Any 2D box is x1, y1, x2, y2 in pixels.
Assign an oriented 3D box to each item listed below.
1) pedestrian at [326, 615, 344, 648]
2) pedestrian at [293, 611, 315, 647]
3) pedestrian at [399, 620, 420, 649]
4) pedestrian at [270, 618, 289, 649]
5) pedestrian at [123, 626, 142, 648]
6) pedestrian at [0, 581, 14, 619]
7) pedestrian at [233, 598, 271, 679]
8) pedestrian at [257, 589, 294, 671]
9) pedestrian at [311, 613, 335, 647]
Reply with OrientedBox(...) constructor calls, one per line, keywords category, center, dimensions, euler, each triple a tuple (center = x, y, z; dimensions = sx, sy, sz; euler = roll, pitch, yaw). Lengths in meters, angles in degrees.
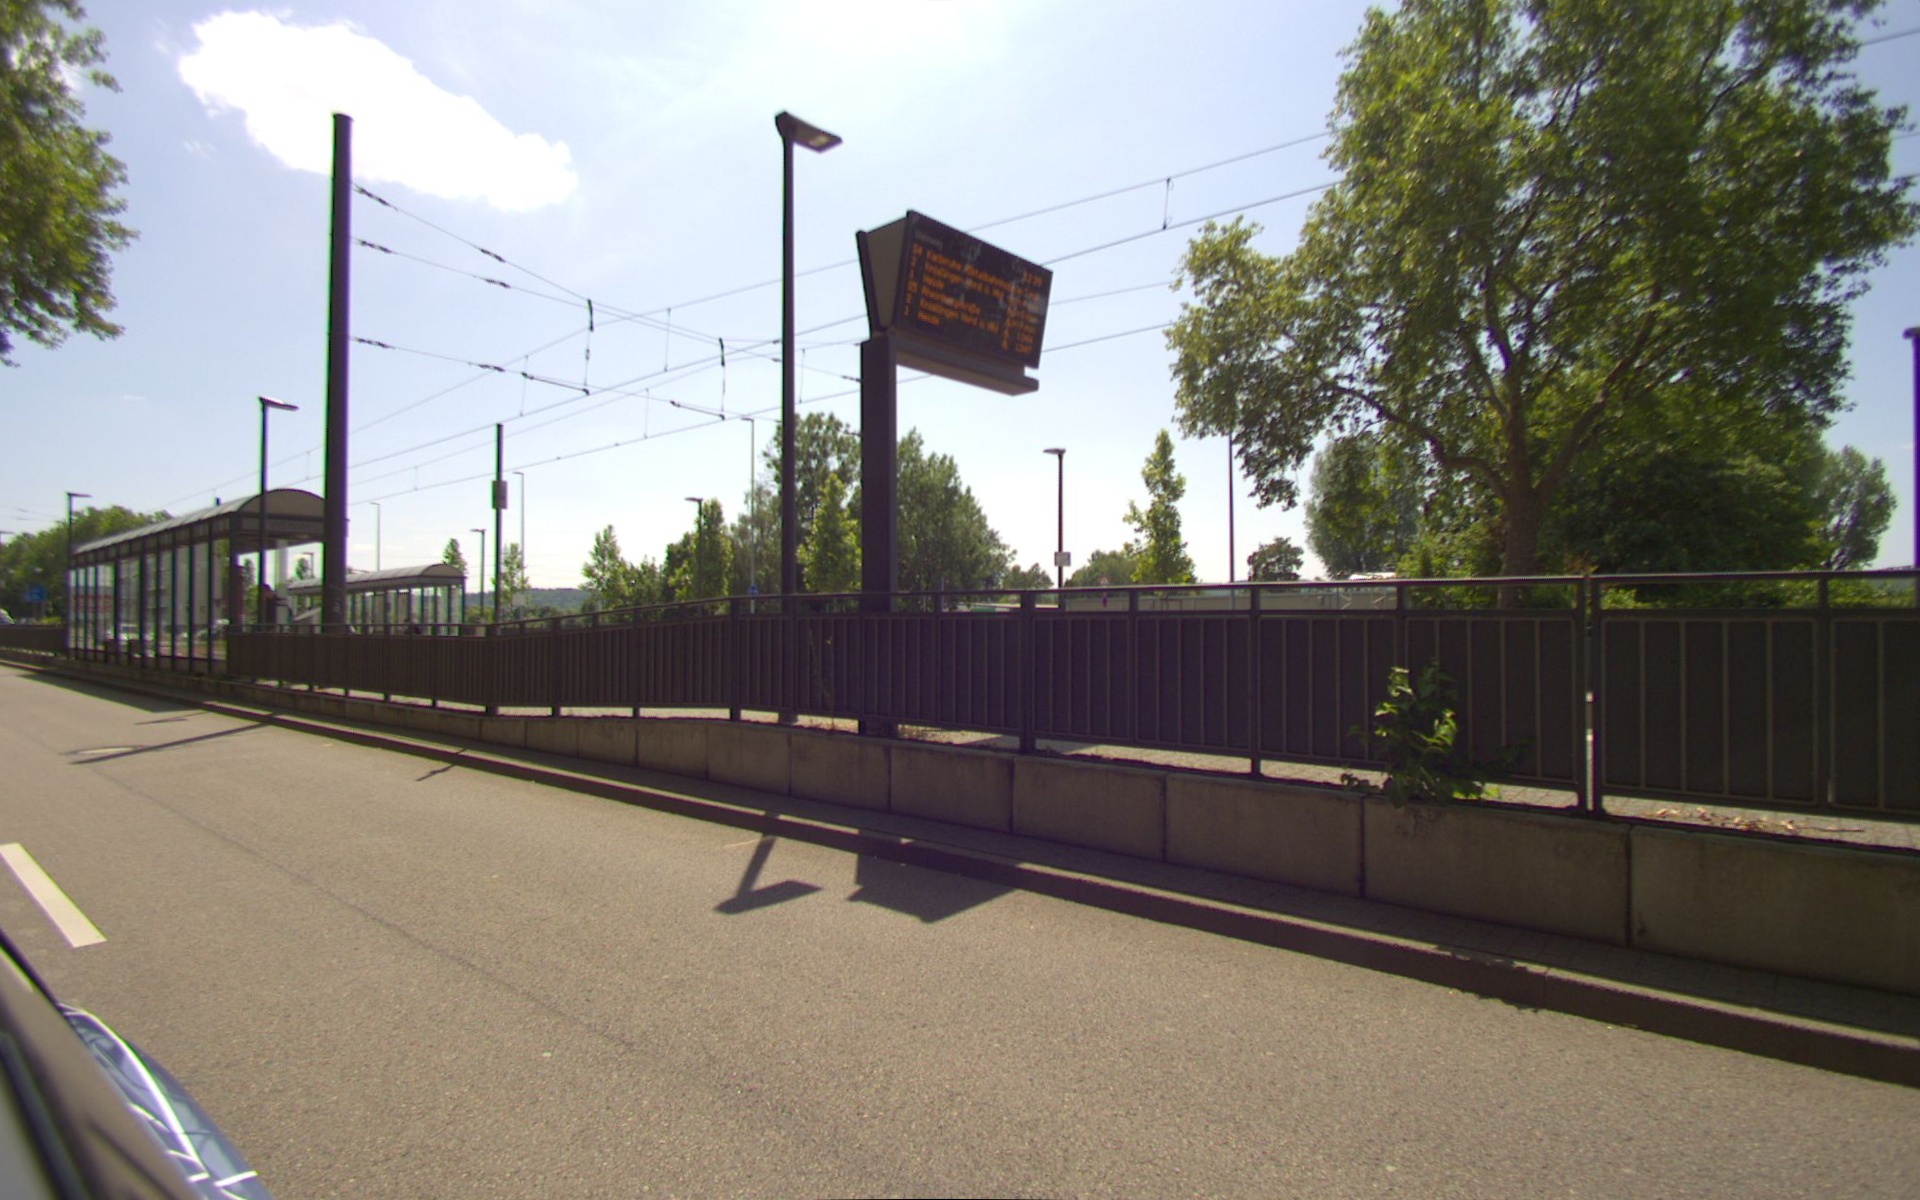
OrientedBox(category="pedestrian", center=(-30.009, 1.501, 48.602), dimensions=(0.639, 1.545, 0.570), euler=(-2, -2, 42))
OrientedBox(category="pedestrian", center=(-32.092, 1.420, 49.535), dimensions=(0.726, 1.742, 0.580), euler=(0, -2, -12))
OrientedBox(category="pedestrian", center=(-22.931, 1.431, 42.135), dimensions=(0.639, 1.199, 0.570), euler=(-2, -2, 42))
OrientedBox(category="pedestrian", center=(-35.840, 1.757, 53.292), dimensions=(0.804, 1.650, 0.552), euler=(-2, -2, 34))
OrientedBox(category="pedestrian", center=(-61.138, 2.740, 74.801), dimensions=(0.763, 1.622, 0.947), euler=(-2, -2, 39))
OrientedBox(category="pedestrian", center=(-43.135, -0.001, 45.545), dimensions=(0.741, 1.678, 0.725), euler=(-2, -2, 40))
OrientedBox(category="pedestrian", center=(-13.331, 0.720, 19.067), dimensions=(0.413, 1.519, 0.396), euler=(0, -1, 0))
OrientedBox(category="pedestrian", center=(-12.887, 0.559, 19.057), dimensions=(0.413, 1.519, 0.396), euler=(0, -1, 0))
OrientedBox(category="pedestrian", center=(-30.766, 1.449, 48.910), dimensions=(0.814, 1.651, 0.580), euler=(0, -2, -11))
